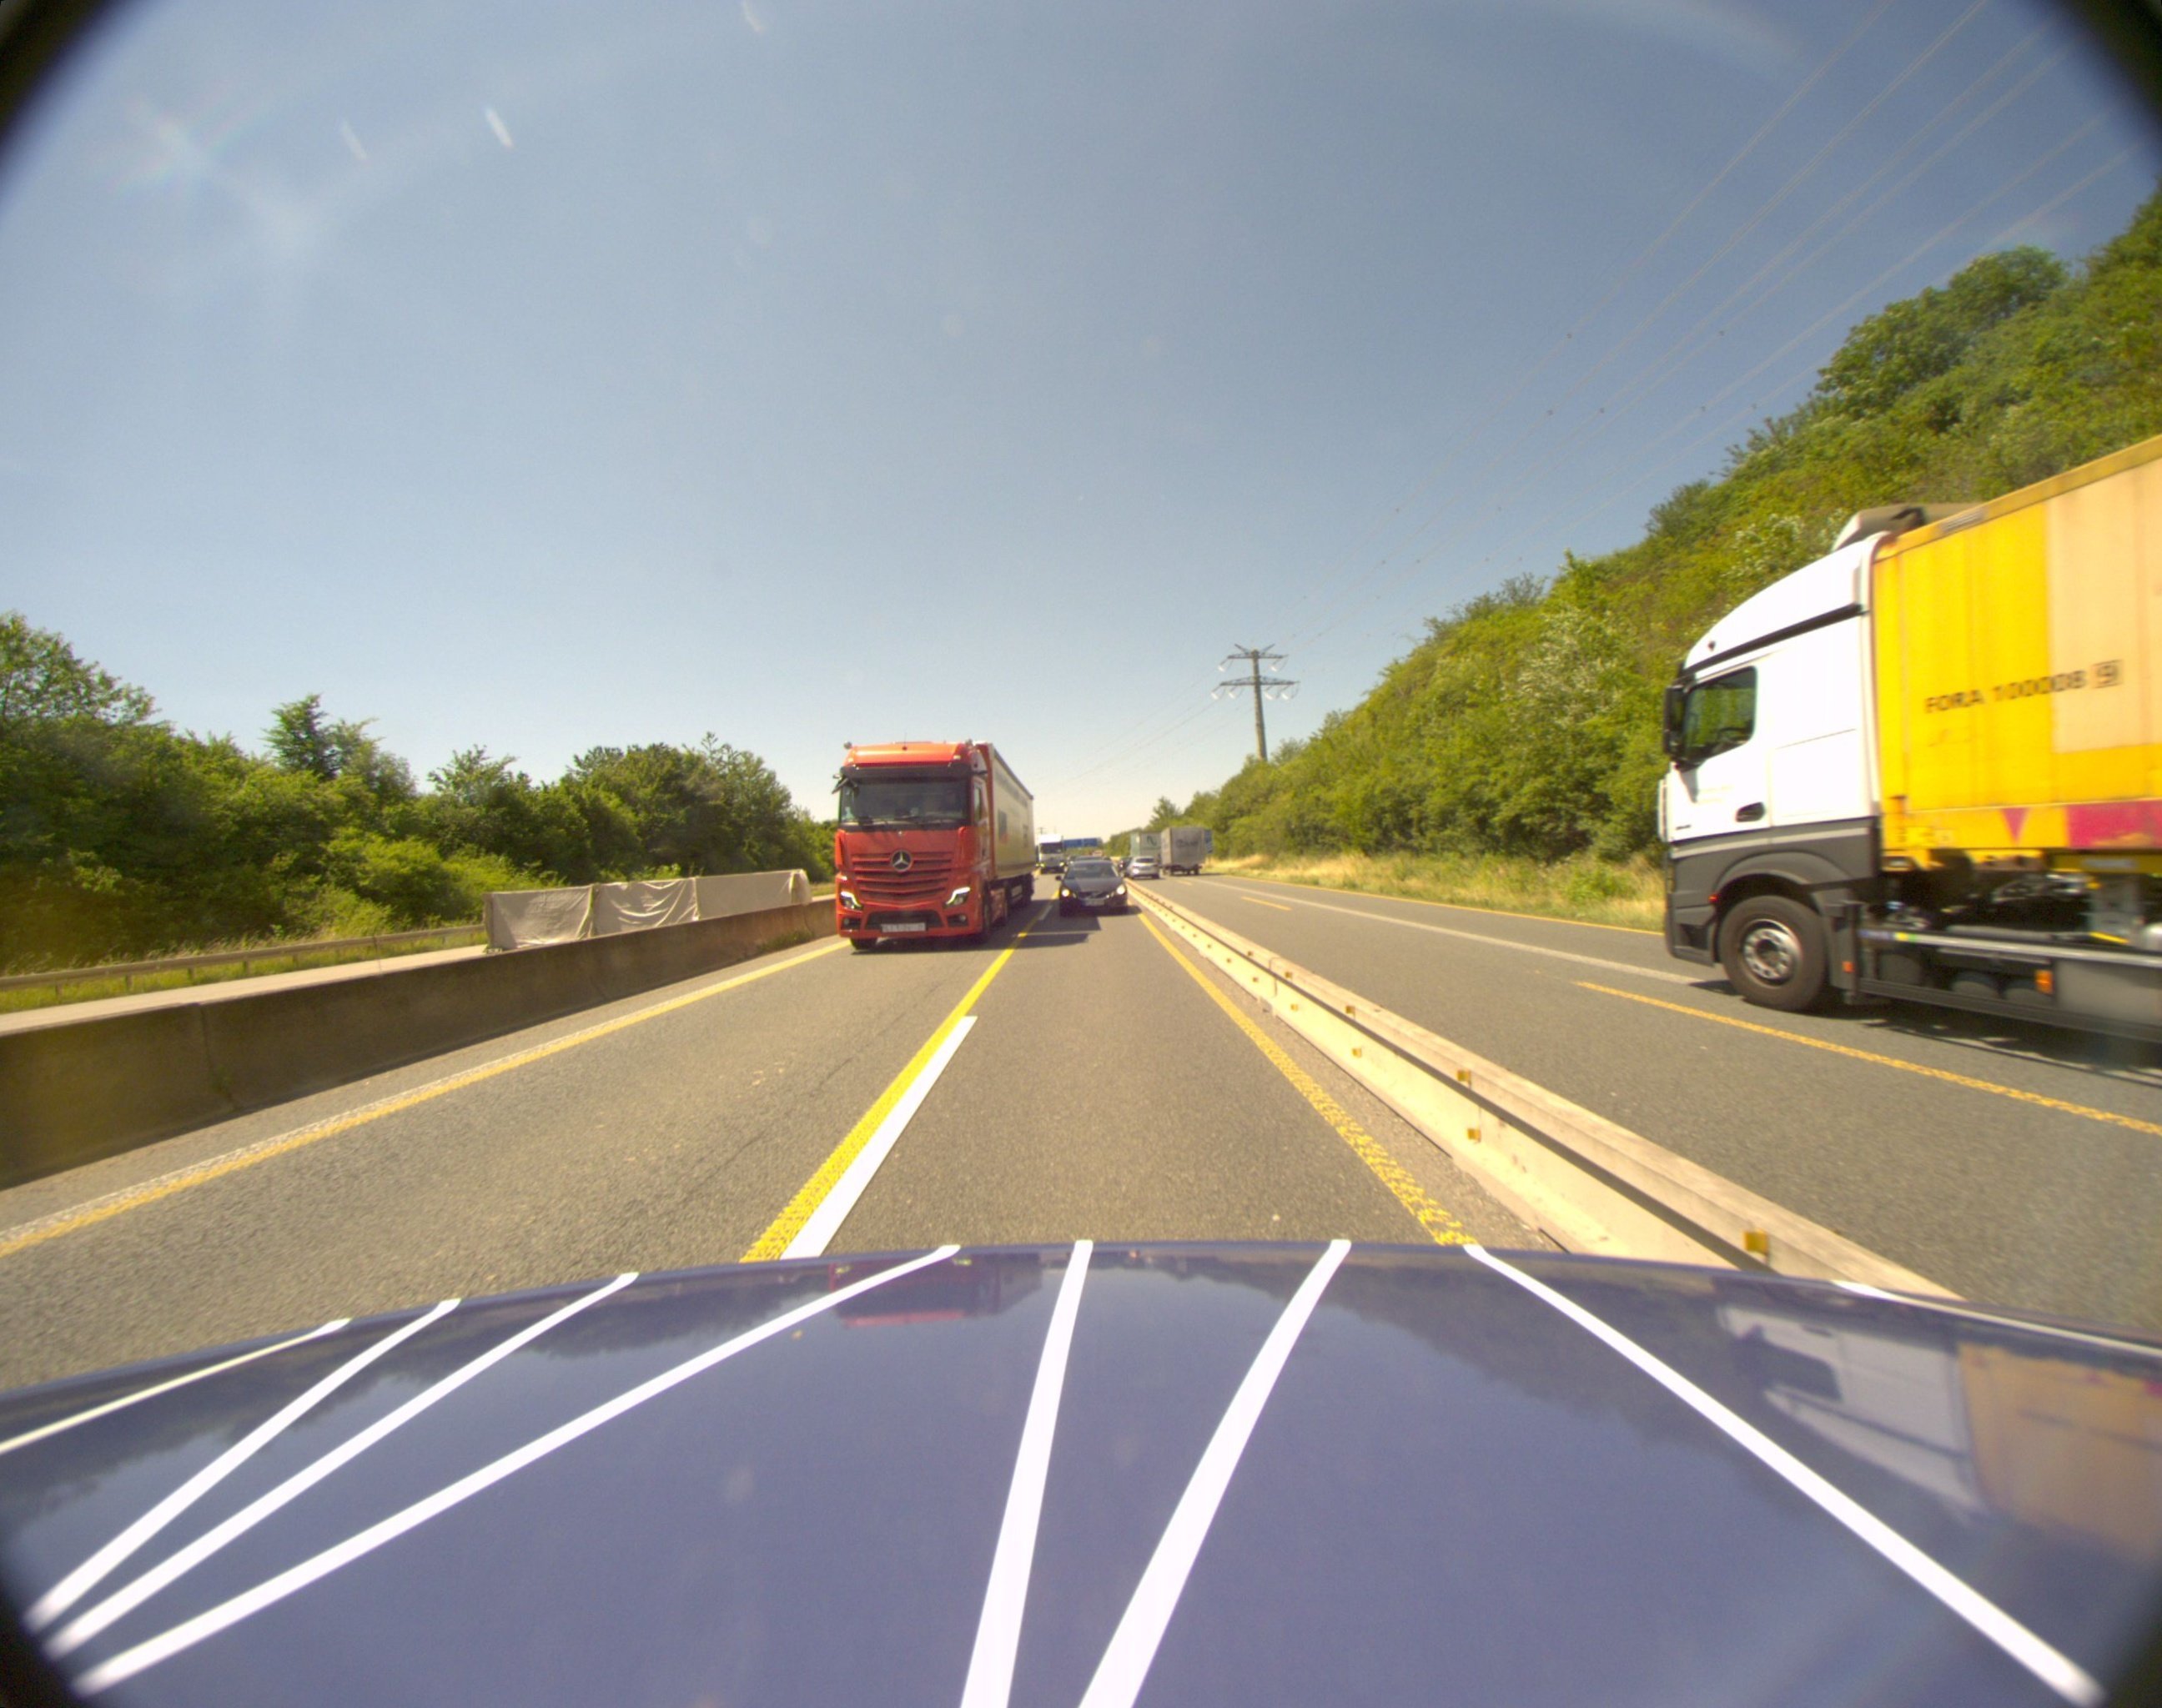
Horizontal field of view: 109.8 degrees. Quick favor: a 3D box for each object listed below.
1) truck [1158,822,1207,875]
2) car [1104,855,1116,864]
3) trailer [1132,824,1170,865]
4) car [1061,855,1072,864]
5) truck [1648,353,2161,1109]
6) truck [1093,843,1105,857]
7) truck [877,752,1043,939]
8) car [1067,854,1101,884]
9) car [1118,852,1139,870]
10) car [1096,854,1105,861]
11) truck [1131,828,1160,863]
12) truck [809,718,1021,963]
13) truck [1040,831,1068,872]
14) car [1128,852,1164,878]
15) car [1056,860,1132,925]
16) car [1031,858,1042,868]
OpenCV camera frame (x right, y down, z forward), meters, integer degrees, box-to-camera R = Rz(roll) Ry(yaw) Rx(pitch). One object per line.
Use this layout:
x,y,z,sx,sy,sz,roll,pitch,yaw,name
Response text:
7.047,-0.392,53.607,2.411,3.311,7.499,-3,1,1,truck
5.093,0.933,135.567,1.904,1.496,4.275,-3,0,0,car
7.802,-1.016,86.031,2.899,4.101,13.242,-3,0,0,trailer
-2.617,0.937,135.939,1.767,1.523,4.698,-3,1,-1,car
7.009,-0.690,2.704,2.656,3.969,9.650,-4,0,1,truck
5.233,-1.158,220.869,2.943,3.754,11.378,-4,0,1,truck
-2.977,-0.184,23.242,2.689,3.986,13.218,-3,0,0,truck
0.202,0.806,43.191,1.767,1.523,4.698,-3,1,1,car
4.448,0.634,71.712,1.765,1.481,4.401,-3,1,1,car
4.361,0.782,170.092,1.904,1.507,4.276,-3,1,1,car
7.796,-0.992,93.135,2.902,4.094,6.020,-2,0,0,truck
-3.055,-0.250,16.137,2.689,3.987,6.725,-3,1,1,truck
-2.804,-0.262,82.295,2.481,4.030,13.109,-3,0,-1,truck
4.097,0.652,48.333,1.846,1.481,4.510,-1,1,0,car
0.347,0.943,20.754,1.767,1.411,4.698,-3,1,1,car
-7.364,1.481,126.092,1.767,1.523,4.697,-3,1,-2,car
